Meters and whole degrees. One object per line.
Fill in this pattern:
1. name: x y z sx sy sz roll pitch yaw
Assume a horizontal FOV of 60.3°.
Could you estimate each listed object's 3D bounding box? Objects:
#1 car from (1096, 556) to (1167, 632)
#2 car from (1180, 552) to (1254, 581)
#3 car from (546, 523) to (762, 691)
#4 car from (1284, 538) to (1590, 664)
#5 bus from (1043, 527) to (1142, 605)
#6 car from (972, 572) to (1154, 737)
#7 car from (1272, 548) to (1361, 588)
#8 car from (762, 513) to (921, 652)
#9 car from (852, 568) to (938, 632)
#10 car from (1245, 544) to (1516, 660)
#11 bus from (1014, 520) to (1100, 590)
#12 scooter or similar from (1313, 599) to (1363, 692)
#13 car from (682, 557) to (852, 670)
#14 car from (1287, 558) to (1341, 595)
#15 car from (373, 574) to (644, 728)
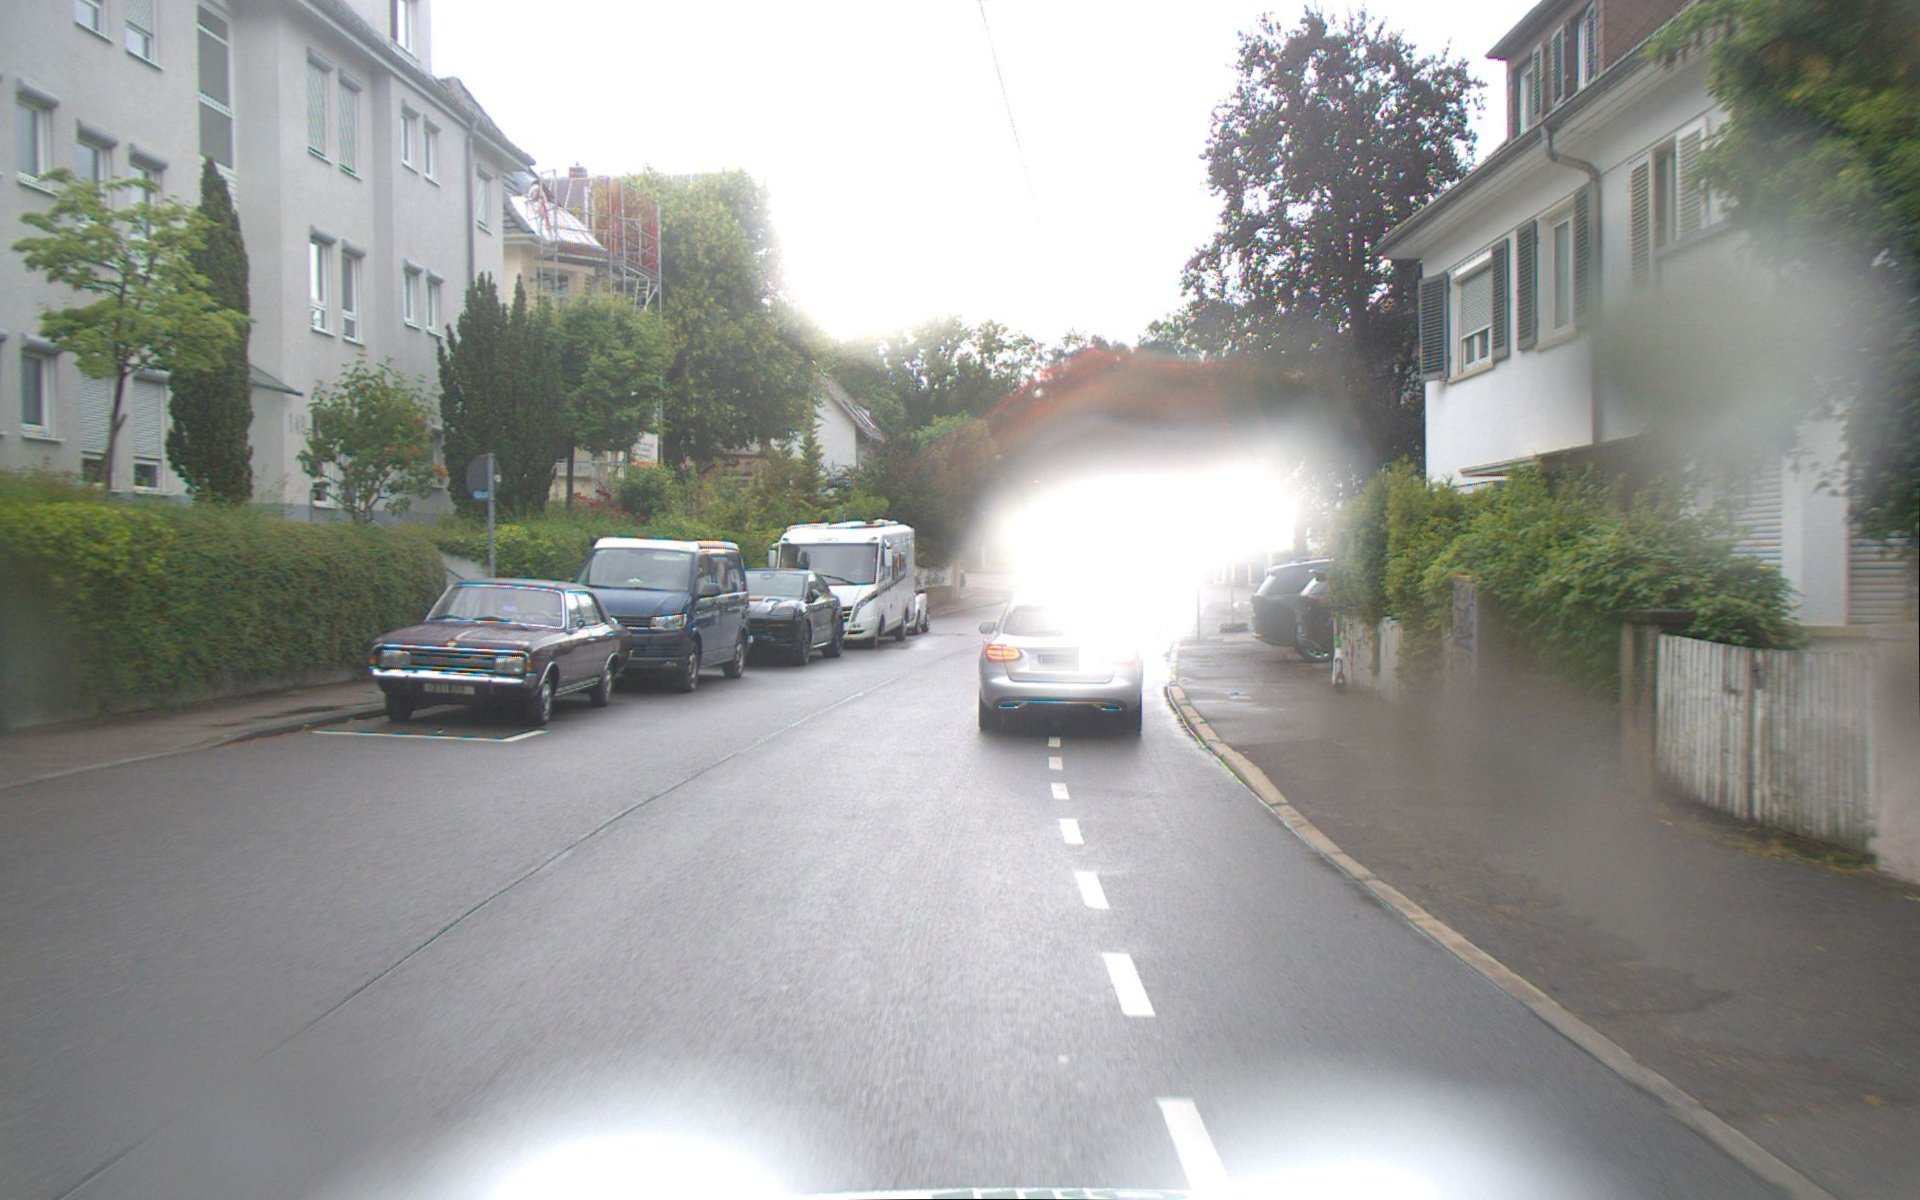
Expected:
1. car: 4.650 -0.168 44.866 1.804 1.937 4.003 1 0 6
2. car: 15.101 -1.960 97.210 3.916 1.557 1.755 1 3 -11
3. car: -4.208 0.070 23.593 1.791 2.092 5.012 1 0 4
4. car: 7.892 0.003 27.740 4.564 1.844 2.001 -2 1 4
5. bus: 6.828 -1.885 86.820 2.874 3.714 10.151 1 3 -9
6. car: 1.111 0.509 18.459 1.778 1.583 4.002 1 1 2
7. car: 17.464 -1.596 81.033 3.907 1.824 1.759 1 3 -3
8. car: -2.534 -0.491 37.487 2.340 2.820 6.538 1 2 7
9. car: -1.653 -0.035 43.092 1.676 1.472 3.258 2 3 7
10. car: 7.769 0.016 30.937 4.564 1.907 2.001 -2 1 4
11. bus: 5.485 -2.698 95.692 2.874 3.714 10.285 1 3 -9
12. scooter or similar: 5.234 0.610 22.972 0.446 1.221 1.867 1 0 6
13. car: -3.387 0.166 29.956 1.951 1.717 4.681 2 3 7
14. car: 15.169 -1.020 70.969 1.184 1.476 3.015 1 3 -11
15. car: -4.784 0.454 18.222 1.609 1.442 4.614 1 1 1
